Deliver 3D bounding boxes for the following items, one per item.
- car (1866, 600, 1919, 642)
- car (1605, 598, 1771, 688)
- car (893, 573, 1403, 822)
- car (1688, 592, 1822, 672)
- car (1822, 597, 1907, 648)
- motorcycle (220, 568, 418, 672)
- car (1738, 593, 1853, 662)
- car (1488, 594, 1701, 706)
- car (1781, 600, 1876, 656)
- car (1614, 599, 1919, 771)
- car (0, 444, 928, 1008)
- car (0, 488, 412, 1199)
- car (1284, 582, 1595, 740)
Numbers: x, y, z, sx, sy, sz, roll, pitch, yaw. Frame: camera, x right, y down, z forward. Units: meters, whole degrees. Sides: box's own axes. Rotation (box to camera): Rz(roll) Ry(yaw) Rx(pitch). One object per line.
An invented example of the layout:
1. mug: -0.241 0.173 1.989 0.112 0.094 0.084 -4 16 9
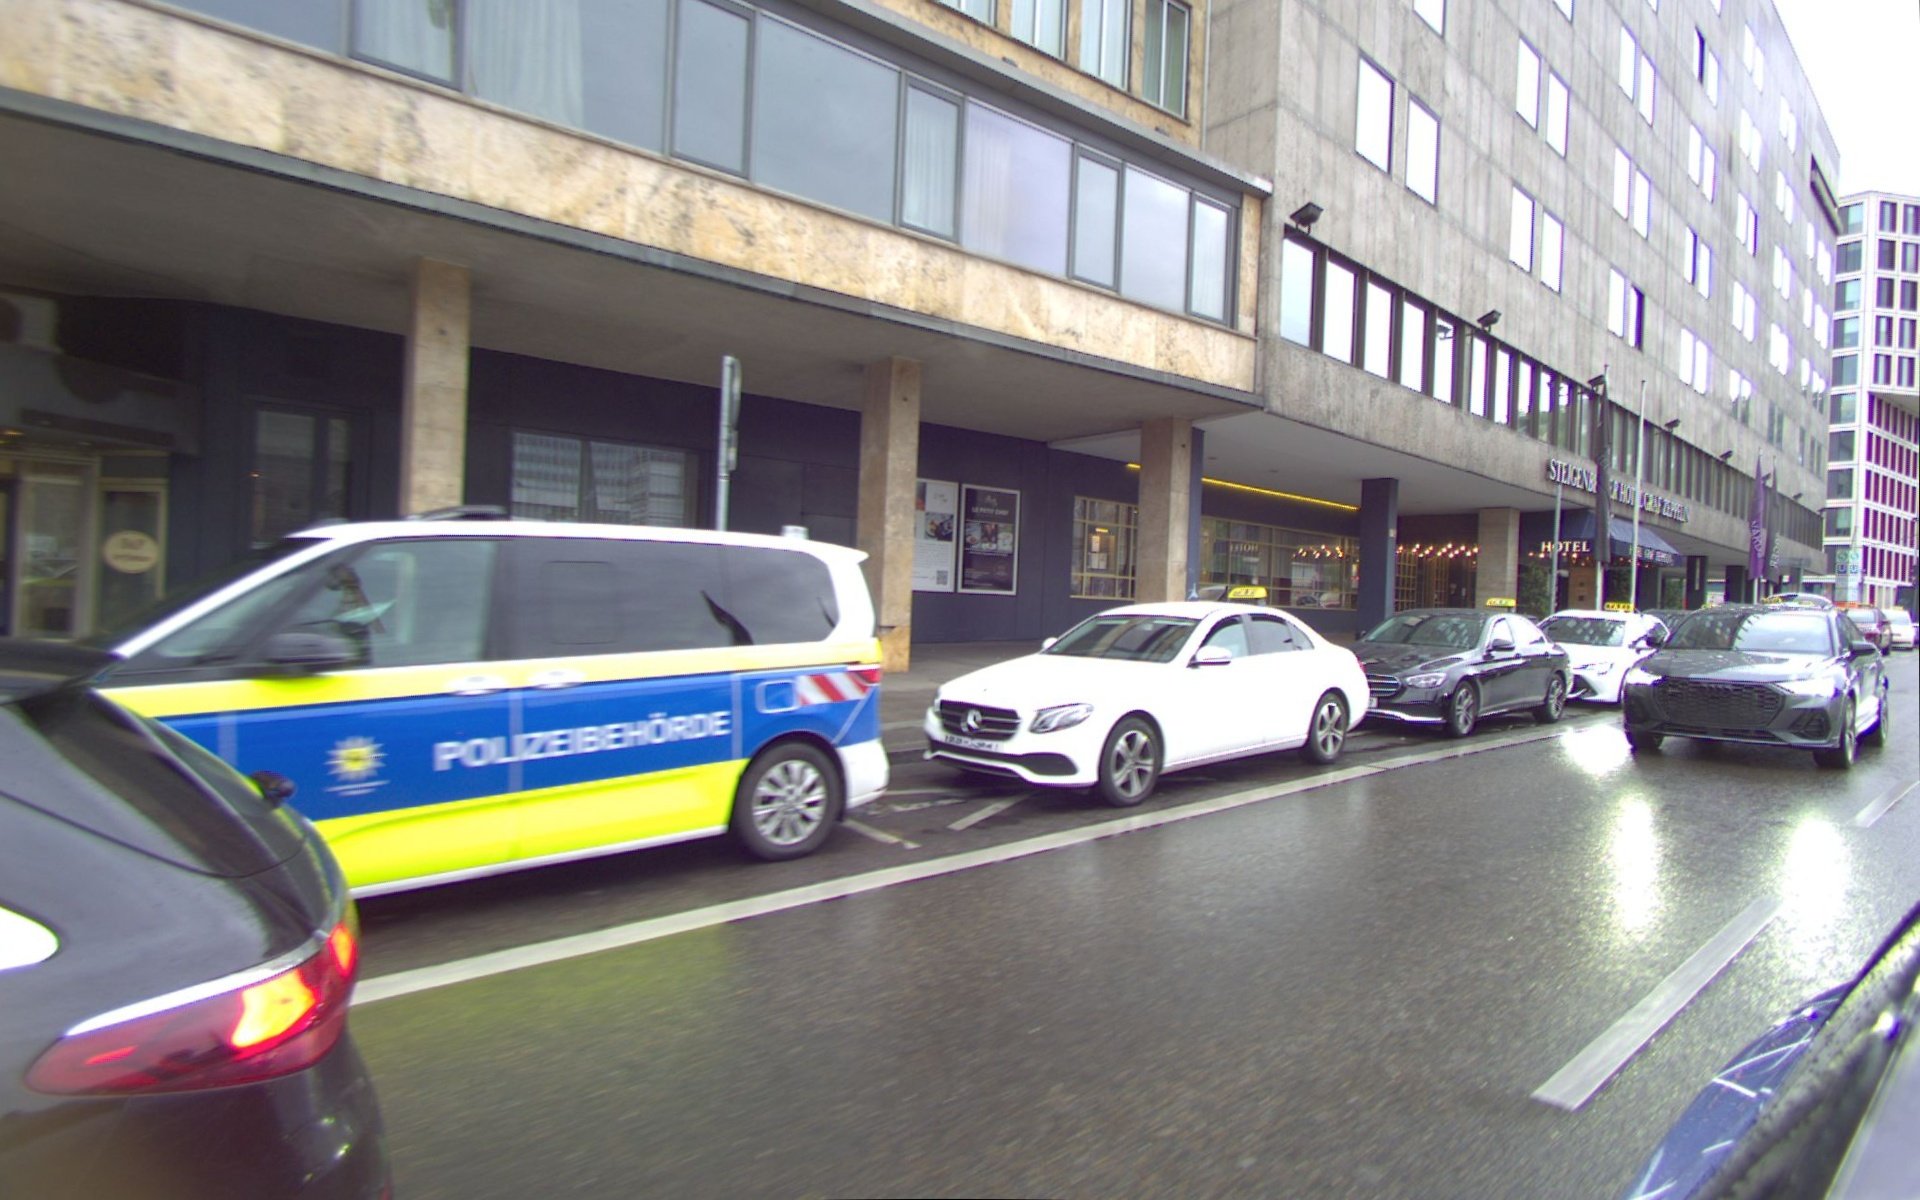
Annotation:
1. car: 38.726 0.837 41.640 3.932 1.634 1.729 0 0 -41
2. car: 14.880 0.780 20.580 4.730 1.612 1.729 0 0 -41
3. car: 1.920 0.642 9.091 4.924 1.658 1.878 0 0 -41
4. car: 19.407 0.694 24.620 4.730 1.765 1.729 0 0 -41
5. car: 31.178 0.720 34.867 3.932 1.634 1.729 0 0 -41
6. motorcycle: -8.014 0.232 12.746 2.063 1.233 0.569 0 0 -33
7. car: 23.197 0.685 28.046 4.730 1.765 1.729 0 0 -41
8. car: 10.618 0.712 16.776 4.730 1.612 1.729 0 0 -41
9. car: 27.209 0.829 31.675 3.932 1.634 1.729 0 0 -41
10. car: 8.986 0.757 11.132 4.266 1.520 1.882 0 0 -40
11. car: -2.625 0.425 5.340 4.849 1.944 1.878 0 0 -41
12. car: -3.019 0.639 0.529 4.547 1.520 1.796 0 0 -41
13. car: 6.257 0.632 12.933 4.730 1.658 1.878 0 0 -41
